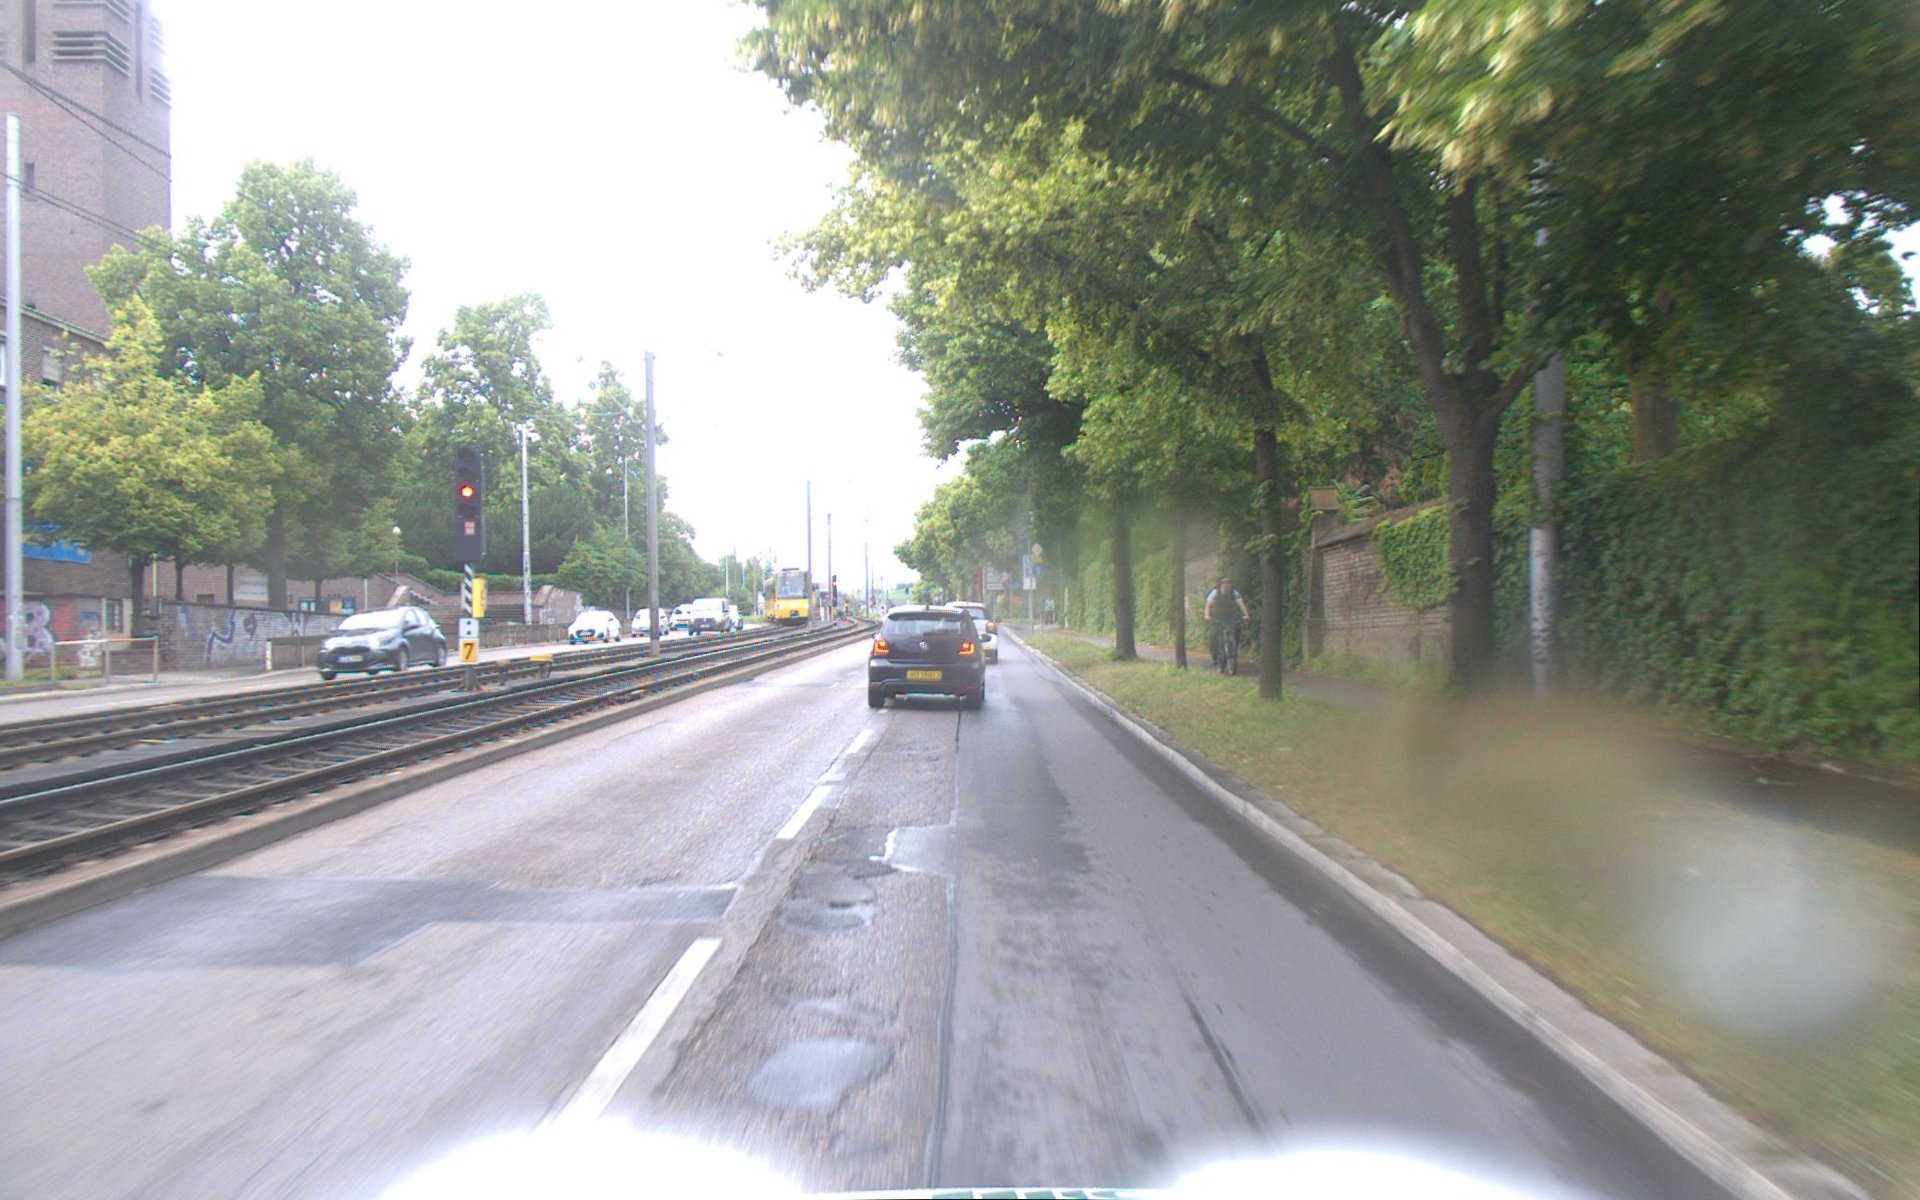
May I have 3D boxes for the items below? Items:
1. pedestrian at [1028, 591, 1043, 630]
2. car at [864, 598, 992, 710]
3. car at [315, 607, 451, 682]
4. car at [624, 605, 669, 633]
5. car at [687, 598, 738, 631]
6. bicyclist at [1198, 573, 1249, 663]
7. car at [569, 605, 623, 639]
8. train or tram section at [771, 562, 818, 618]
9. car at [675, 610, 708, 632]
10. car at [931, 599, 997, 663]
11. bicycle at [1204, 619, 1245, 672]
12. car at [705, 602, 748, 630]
[{"bbox_3d":[5.856,0.809,128.223,1.140,3.029,0.948,0,0,-1],"label":"pedestrian"},{"bbox_3d":[-0.484,0.746,24.988,1.757,1.511,3.964,1,0,-1],"label":"car"},{"bbox_3d":[-12.488,0.933,35.997,1.646,1.487,3.608,-1,0,0],"label":"car"},{"bbox_3d":[-16.945,1.024,89.616,1.693,1.469,3.999,0,0,-1],"label":"car"},{"bbox_3d":[-13.194,0.773,88.454,1.953,1.691,5.126,0,0,-1],"label":"car"},{"bbox_3d":[4.896,0.330,30.790,0.747,1.644,0.998,-1,0,-1],"label":"bicyclist"},{"bbox_3d":[-16.437,0.986,74.792,1.583,1.459,3.999,0,0,-1],"label":"car"},{"bbox_3d":[-11.306,-0.686,113.840,2.775,3.668,9.265,0,0,-3],"label":"train or tram section"},{"bbox_3d":[-17.139,1.342,105.658,1.527,1.362,3.648,0,-1,-1],"label":"car"},{"bbox_3d":[0.125,0.782,43.489,1.641,1.557,3.722,-1,0,0],"label":"car"},{"bbox_3d":[4.895,0.832,30.741,0.399,0.918,2.099,-1,0,0],"label":"bicycle"},{"bbox_3d":[-13.852,0.920,98.411,1.953,1.604,4.534,0,0,-1],"label":"car"}]
